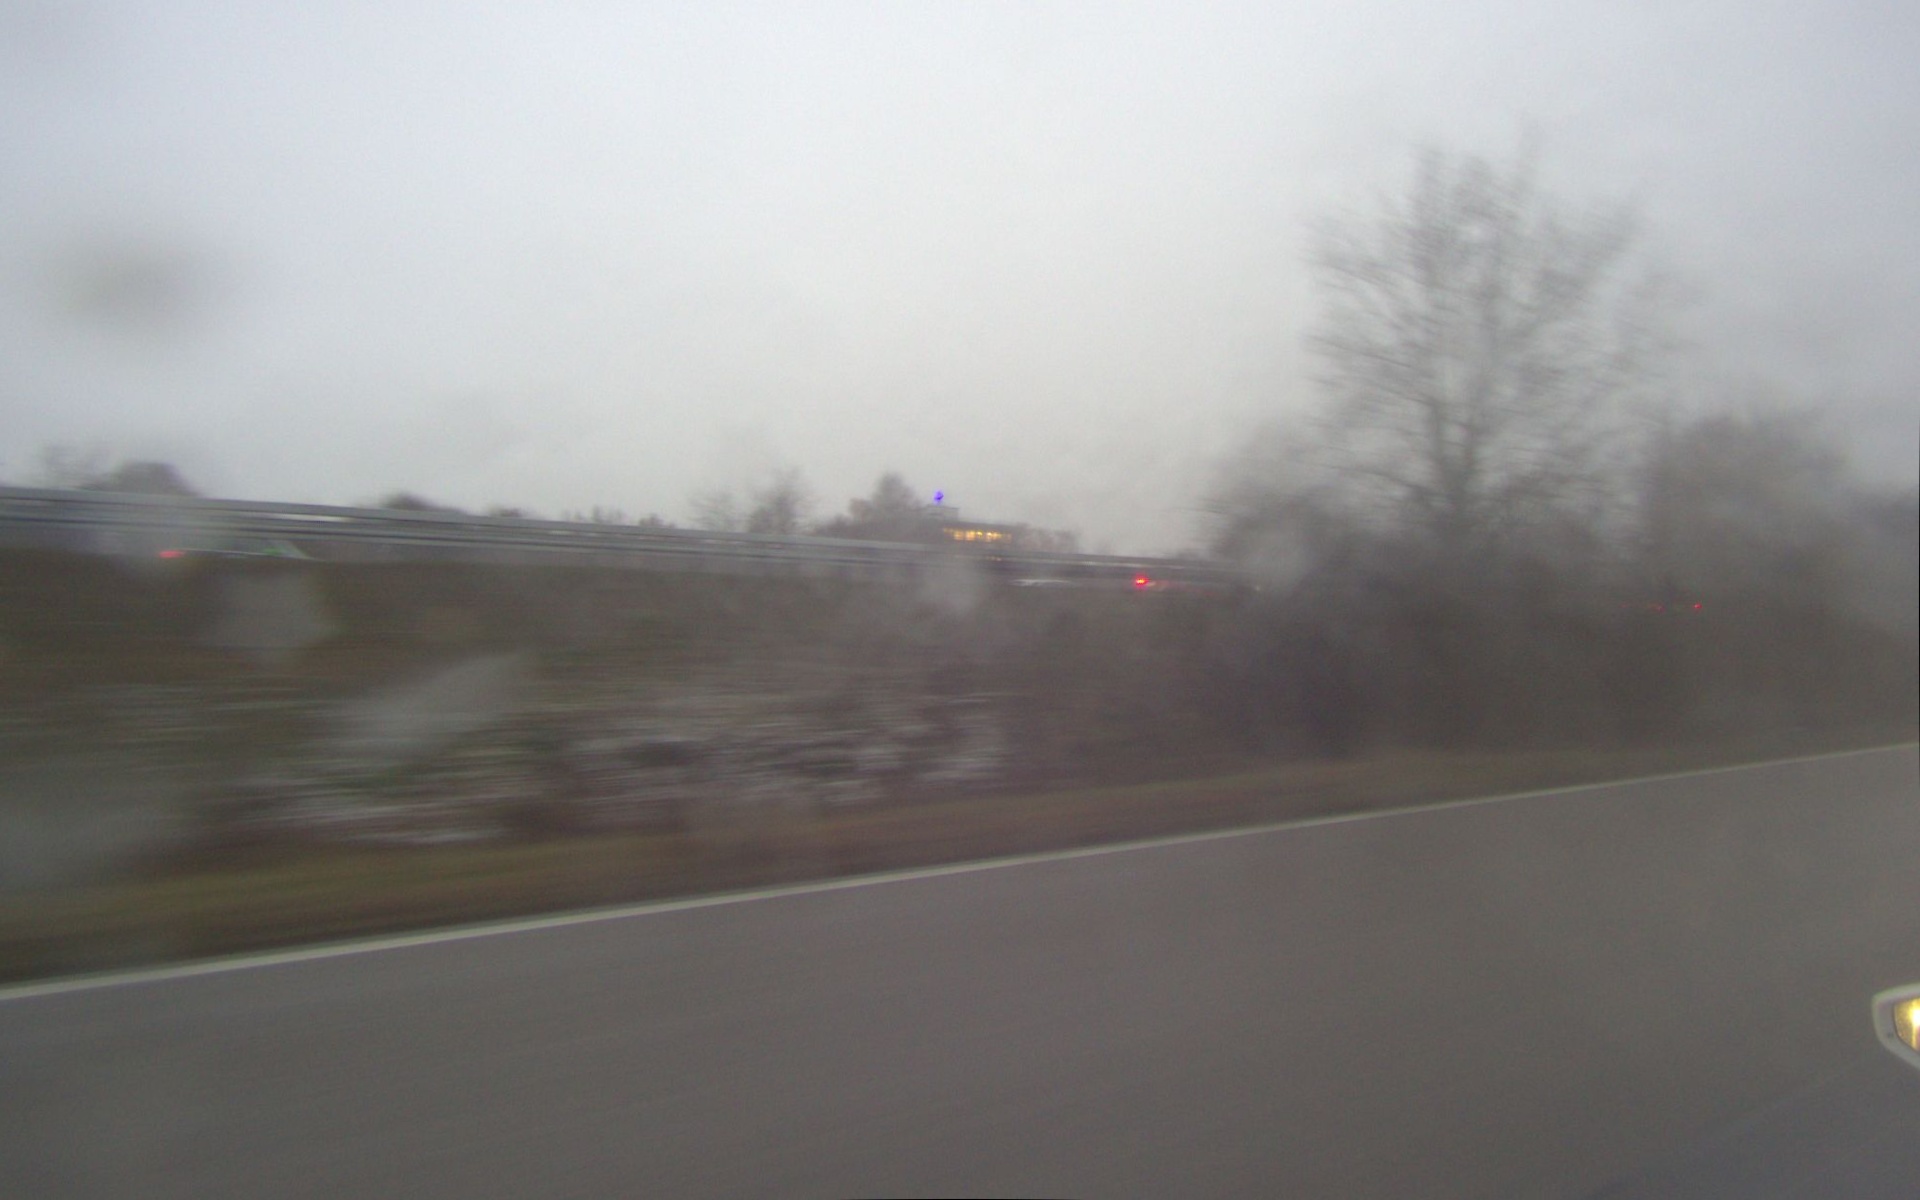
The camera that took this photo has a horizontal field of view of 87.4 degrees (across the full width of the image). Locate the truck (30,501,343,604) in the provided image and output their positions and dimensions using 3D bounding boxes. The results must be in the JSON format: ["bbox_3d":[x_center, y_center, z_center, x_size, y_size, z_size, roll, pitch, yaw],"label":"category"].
[{"bbox_3d":[-17.881,-1.012,23.714,5.538,2.040,2.301,2,0,-30],"label":"truck"}]

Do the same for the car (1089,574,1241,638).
[{"bbox_3d":[7.101,0.238,34.635,5.041,2.040,1.985,2,0,-29],"label":"car"}]

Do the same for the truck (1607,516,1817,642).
[{"bbox_3d":[42.891,-0.923,56.983,15.555,6.372,3.745,2,0,-31],"label":"truck"}]
